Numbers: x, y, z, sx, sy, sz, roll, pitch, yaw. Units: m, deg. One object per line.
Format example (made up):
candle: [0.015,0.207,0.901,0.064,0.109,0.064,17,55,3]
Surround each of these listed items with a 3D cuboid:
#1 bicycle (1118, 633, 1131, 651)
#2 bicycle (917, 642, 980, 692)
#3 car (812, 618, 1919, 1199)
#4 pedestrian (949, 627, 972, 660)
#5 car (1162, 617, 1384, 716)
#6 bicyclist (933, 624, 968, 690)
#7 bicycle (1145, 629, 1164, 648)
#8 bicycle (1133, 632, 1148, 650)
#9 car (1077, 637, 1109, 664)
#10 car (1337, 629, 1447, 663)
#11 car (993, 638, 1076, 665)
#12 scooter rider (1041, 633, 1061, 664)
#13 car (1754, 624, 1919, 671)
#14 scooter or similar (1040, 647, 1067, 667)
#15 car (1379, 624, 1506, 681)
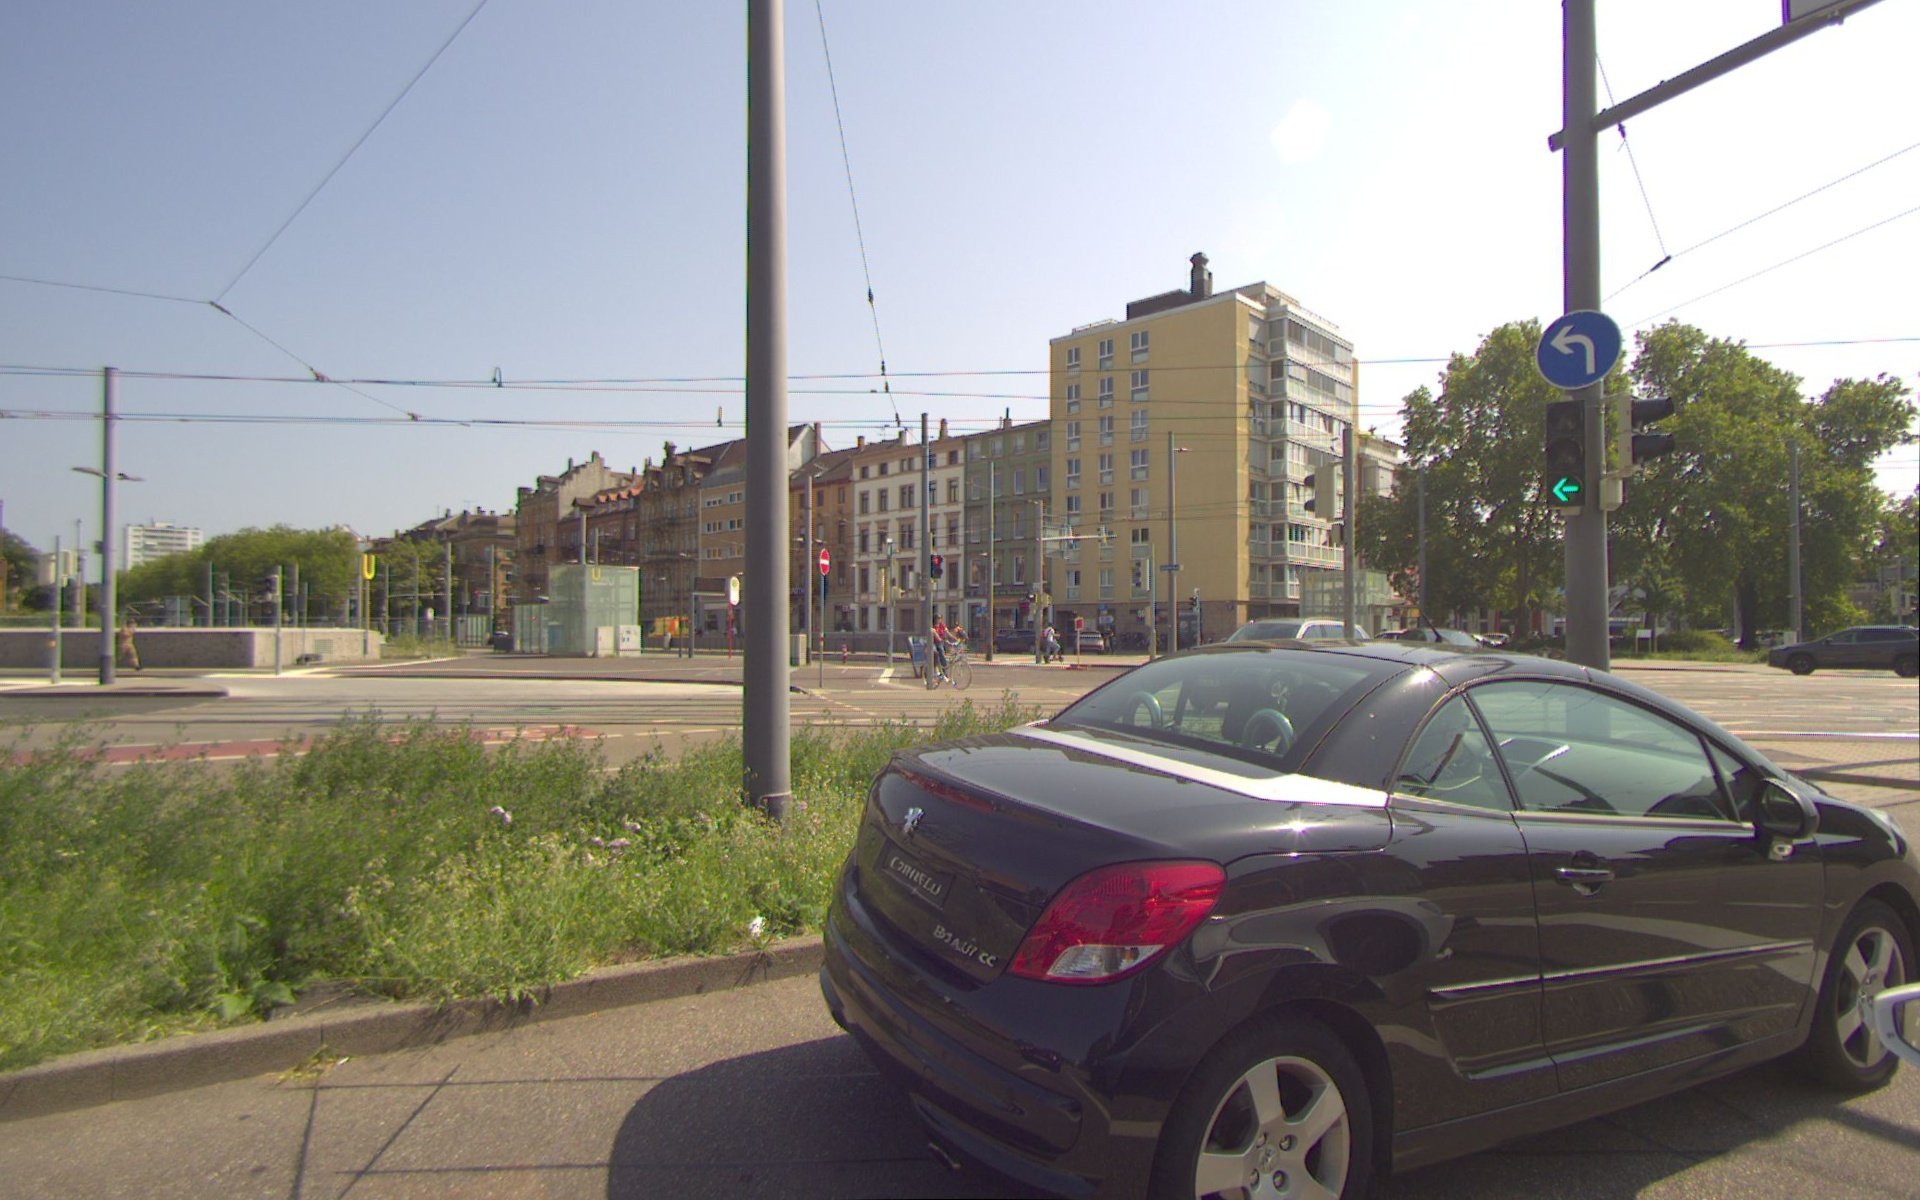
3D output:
bicycle: [11.346,2.898,69.233,0.680,1.220,2.793,0,-2,5]
bicycle: [-0.301,1.561,23.827,0.499,1.108,1.918,1,-2,-35]
car: [1.560,0.802,3.405,3.731,1.406,1.760,1,0,-26]
pedestrian: [0.033,2.095,48.238,0.732,1.563,0.855,-1,-2,39]
car: [5.891,1.158,18.642,4.504,1.621,1.752,2,-2,-39]
bicyclist: [-0.228,1.345,23.888,0.632,1.529,0.553,1,-2,-36]
bicycle: [12.989,2.575,67.167,0.892,1.220,3.265,0,-2,5]
bicycle: [12.189,2.758,67.953,0.680,1.220,3.265,0,-2,5]
car: [8.116,3.050,61.481,1.712,1.528,4.002,0,-2,4]
car: [19.029,1.986,44.368,4.141,1.434,1.767,-1,-2,42]
car: [4.239,2.915,57.571,4.700,1.434,1.767,-1,-2,42]
scooter rider: [3.995,2.116,44.047,0.602,1.371,0.682,1,-2,-35]
car: [30.121,1.588,34.378,4.557,1.524,1.990,-1,-2,40]
scooter or similar: [4.087,2.492,43.983,1.132,0.835,0.517,1,-2,-35]
car: [14.347,1.532,30.122,1.705,1.581,4.208,0,-2,-1]
